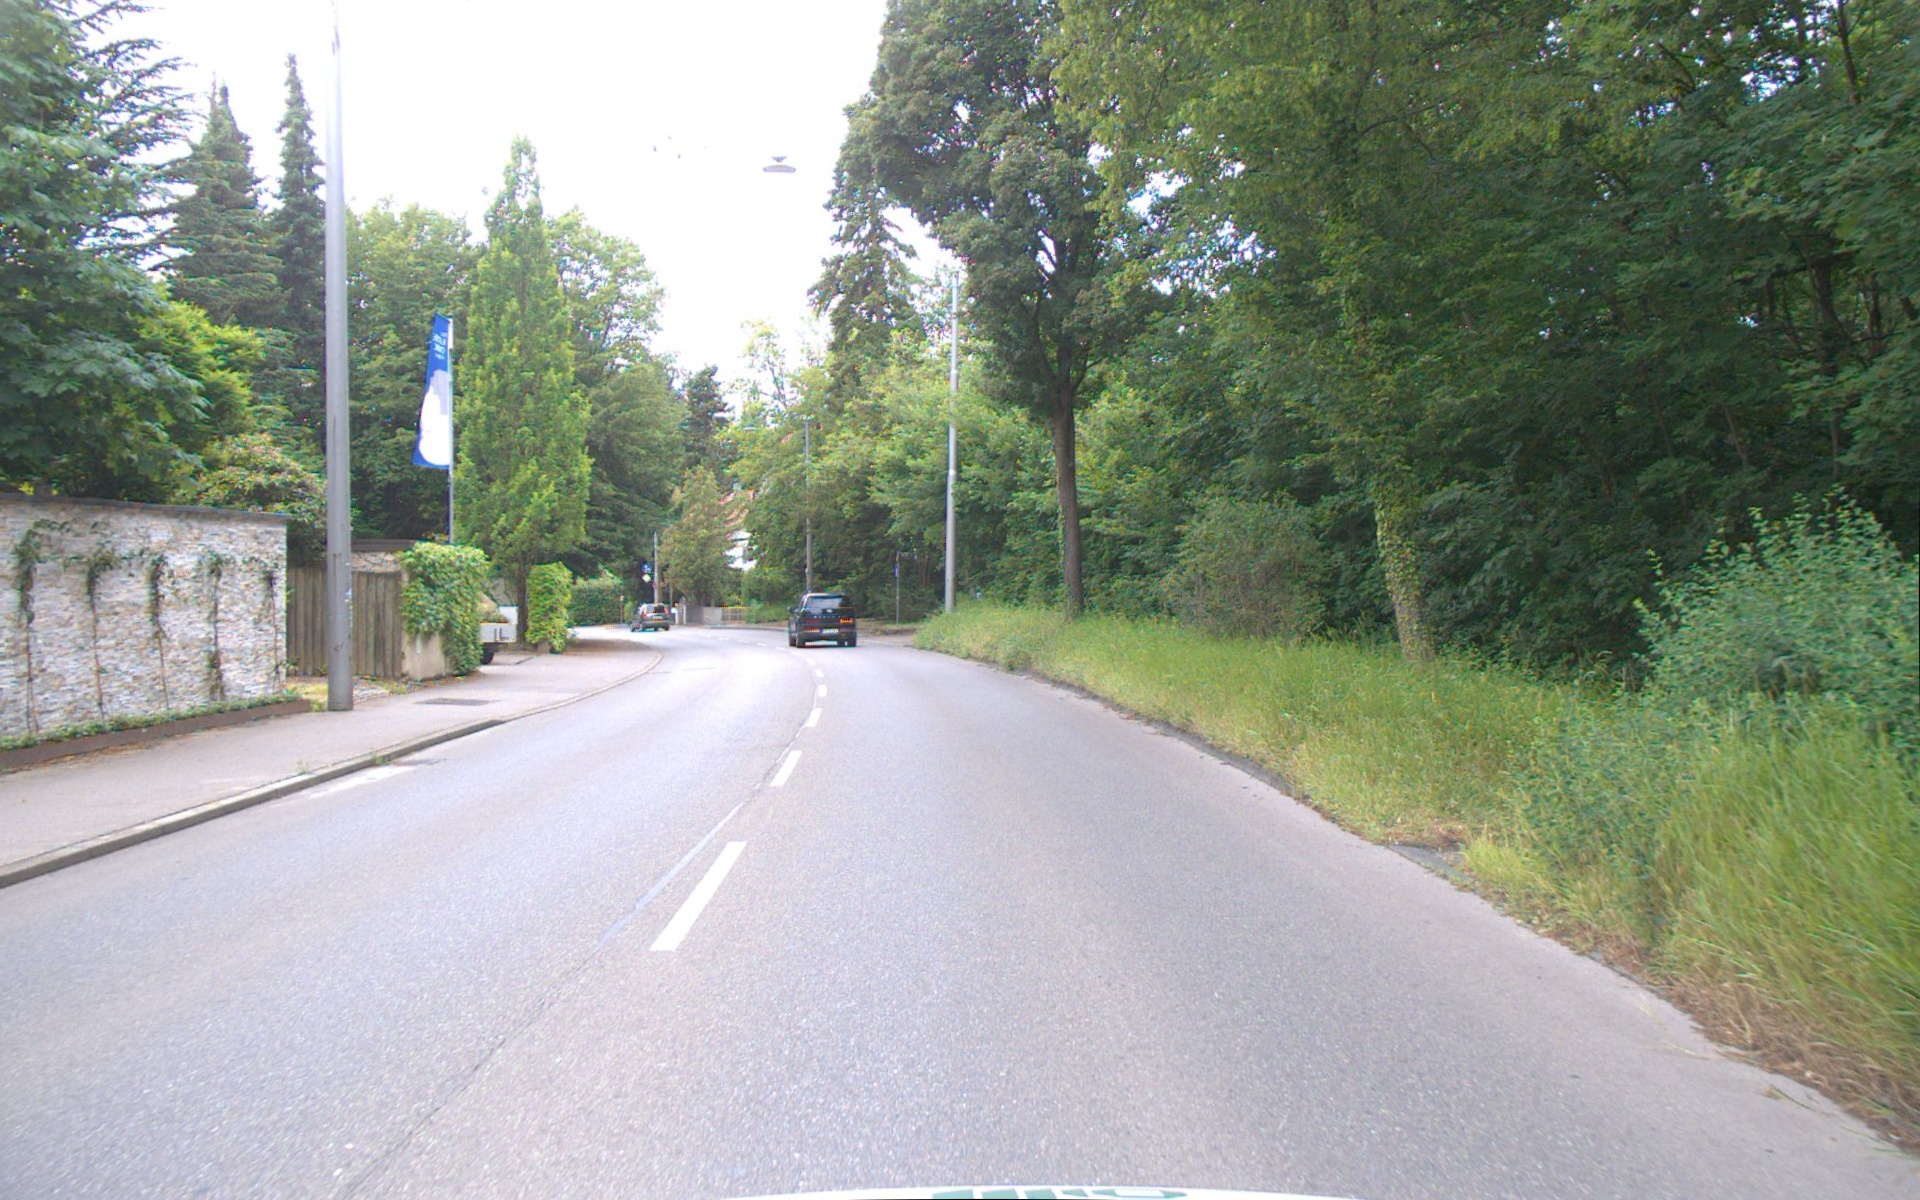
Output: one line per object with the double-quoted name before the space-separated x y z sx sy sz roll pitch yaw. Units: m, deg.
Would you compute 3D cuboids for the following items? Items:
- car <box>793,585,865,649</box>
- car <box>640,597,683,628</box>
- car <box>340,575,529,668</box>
"car" -4.241 0.497 52.998 1.957 1.914 3.992 -1 1 -9
"car" -17.139 0.706 94.807 1.962 1.646 3.980 -1 1 -18
"car" -12.813 0.489 40.137 2.406 2.109 5.278 -1 0 -42
